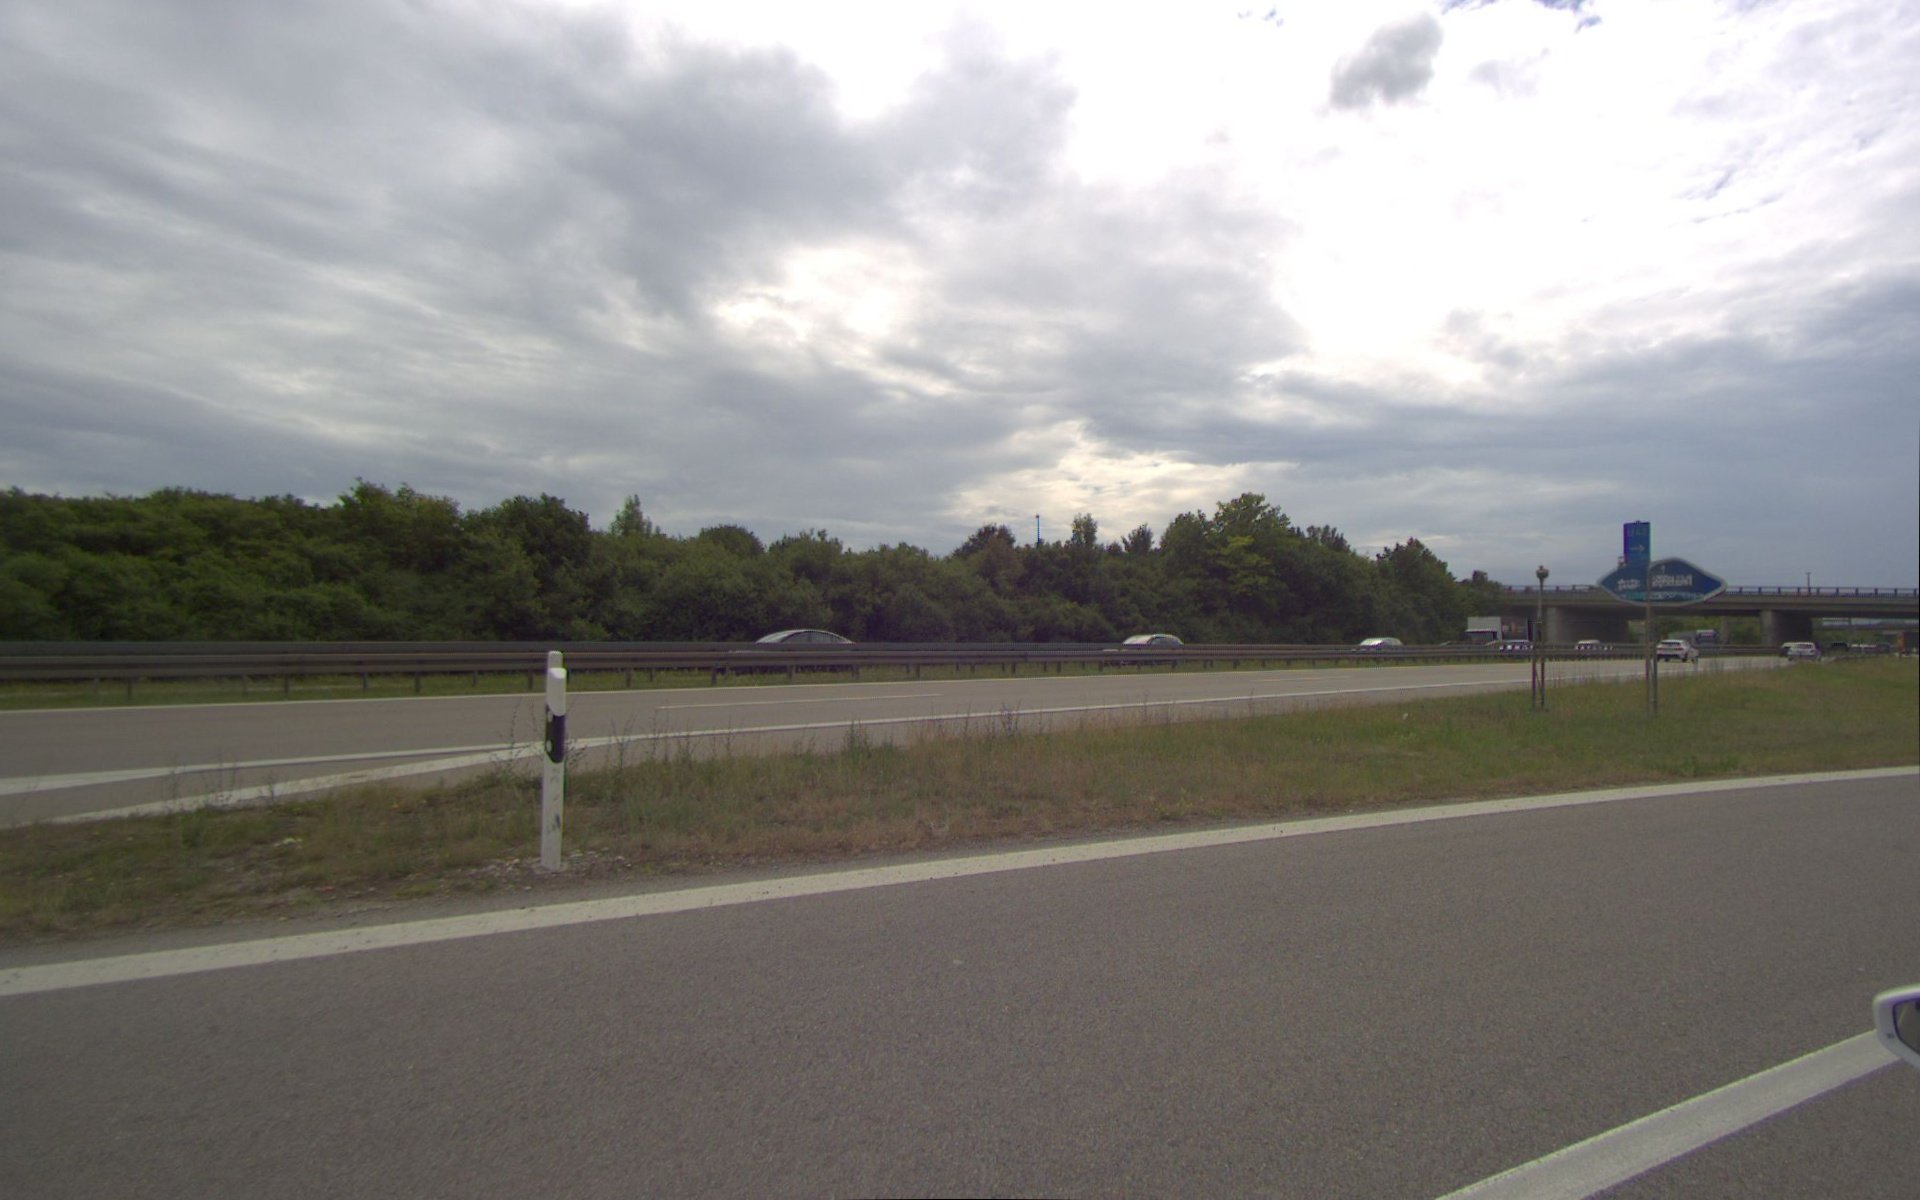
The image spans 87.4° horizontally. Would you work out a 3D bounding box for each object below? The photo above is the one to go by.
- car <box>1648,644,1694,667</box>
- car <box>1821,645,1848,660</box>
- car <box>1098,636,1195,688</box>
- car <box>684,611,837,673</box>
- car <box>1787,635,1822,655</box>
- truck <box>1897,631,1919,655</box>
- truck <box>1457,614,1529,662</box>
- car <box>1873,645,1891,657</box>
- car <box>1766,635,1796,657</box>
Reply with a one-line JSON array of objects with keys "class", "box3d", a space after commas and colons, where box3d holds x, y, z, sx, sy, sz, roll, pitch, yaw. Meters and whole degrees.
[{"class": "car", "box3d": [48.377, 3.781, 68.337, 4.350, 1.472, 1.818, 3, -2, -45]}, {"class": "car", "box3d": [106.656, 6.353, 122.499, 4.795, 1.766, 1.975, 3, -3, -43]}, {"class": "car", "box3d": [7.964, 2.591, 42.664, 4.187, 2.040, 1.907, 3, -2, -43]}, {"class": "car", "box3d": [-5.830, 1.226, 29.638, 3.974, 1.706, 1.974, 3, -2, -45]}, {"class": "car", "box3d": [66.644, 3.564, 79.281, 3.973, 1.539, 1.700, 3, -2, -44]}, {"class": "truck", "box3d": [139.313, 6.276, 147.240, 7.869, 3.415, 2.444, 3, -3, -44]}, {"class": "truck", "box3d": [43.505, 3.110, 81.864, 8.140, 3.694, 2.733, 3, -2, -43]}, {"class": "car", "box3d": [143.252, 7.957, 156.075, 4.307, 1.782, 1.827, 3, -2, -44]}, {"class": "car", "box3d": [81.759, 4.617, 100.037, 1.972, 2.040, 3.977, 2, -1, 43]}]
